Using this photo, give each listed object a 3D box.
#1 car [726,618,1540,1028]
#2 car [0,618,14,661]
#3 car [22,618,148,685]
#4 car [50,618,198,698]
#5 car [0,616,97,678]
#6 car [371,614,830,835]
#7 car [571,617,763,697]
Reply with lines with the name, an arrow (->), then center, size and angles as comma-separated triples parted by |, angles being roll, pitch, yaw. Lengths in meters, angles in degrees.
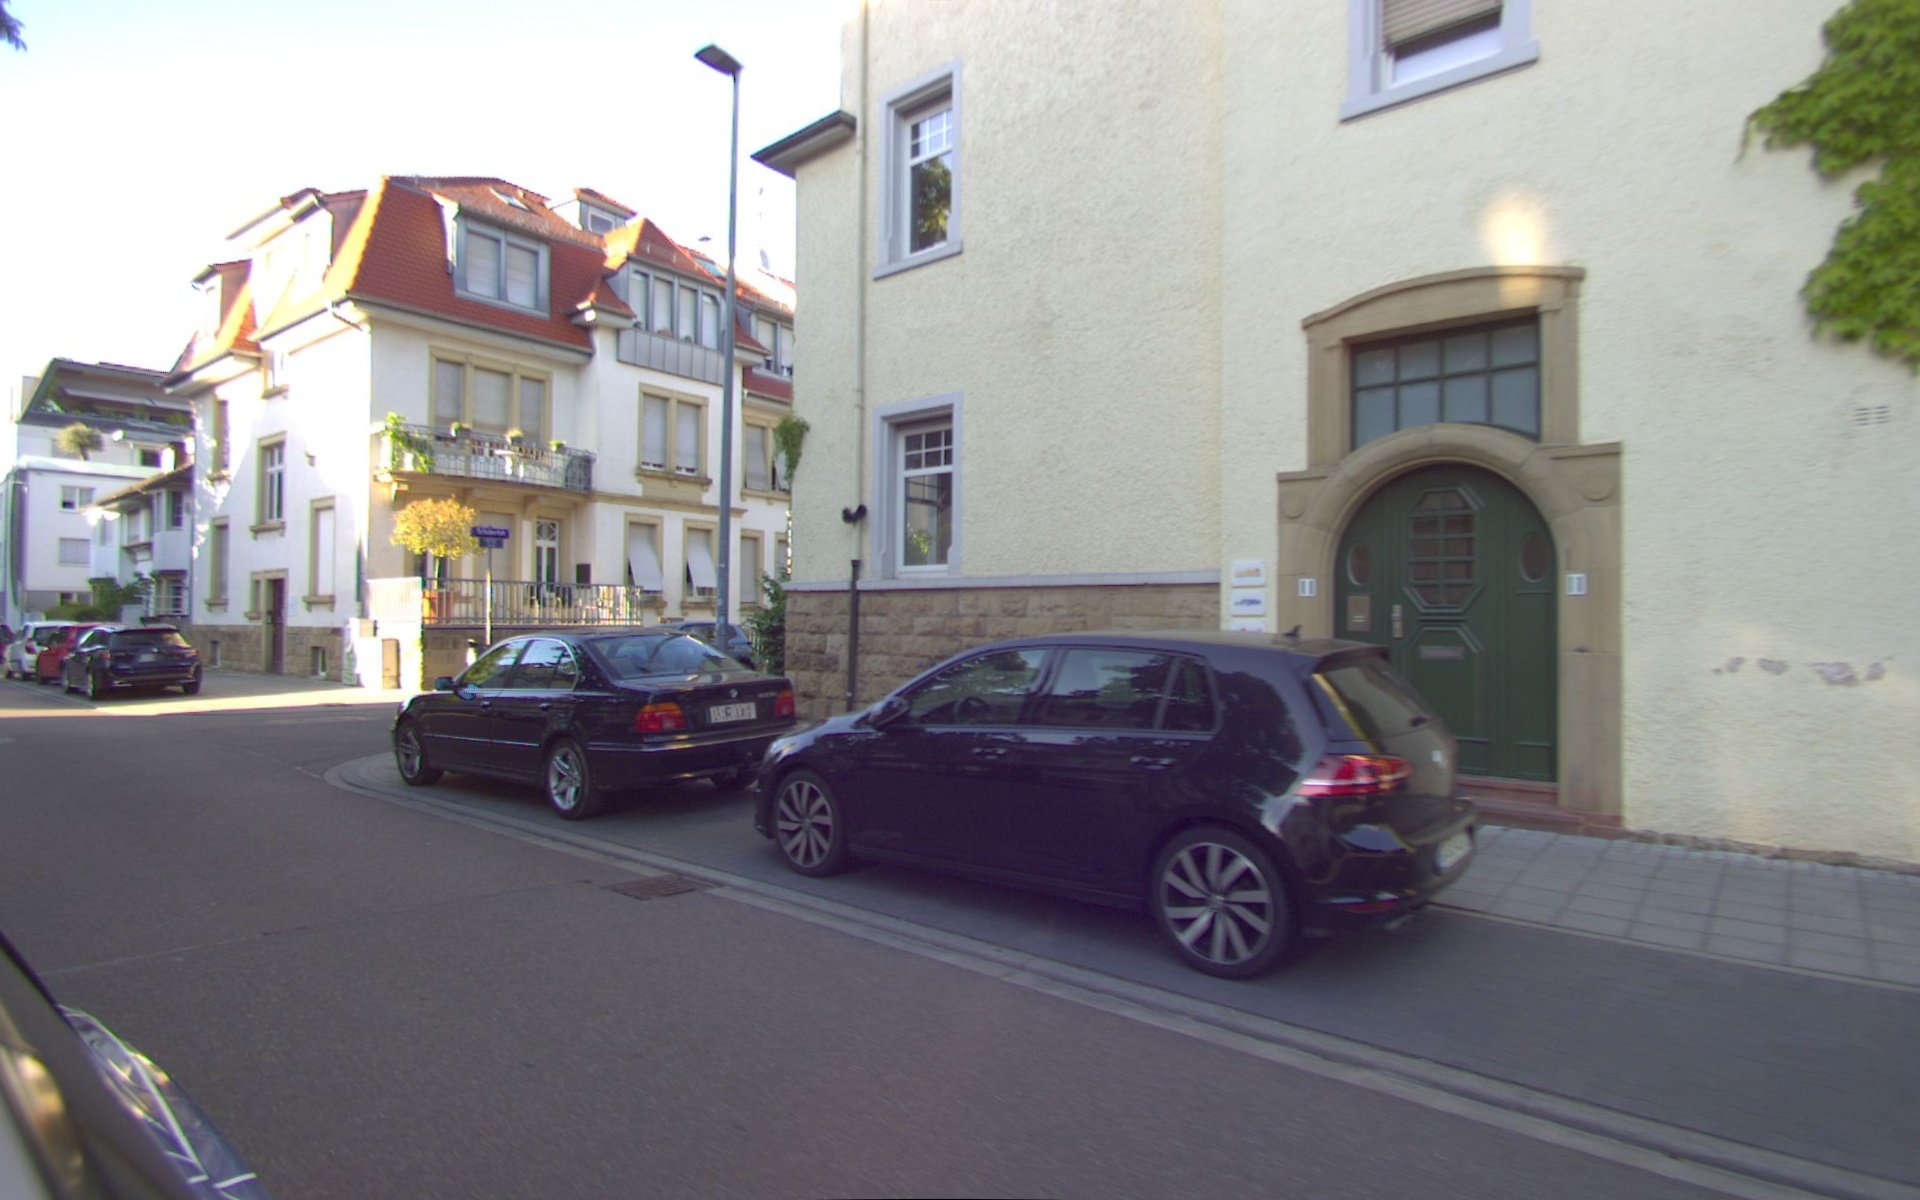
car -> 0.661, 0.827, 5.558 | 4.164, 1.426, 1.637 | -1, -1, 40
car -> -35.862, 1.439, 36.950 | 3.428, 1.494, 1.633 | -1, 0, 42
car -> -21.243, 1.193, 24.527 | 3.700, 1.488, 1.567 | -1, -1, 37
car -> -17.413, 1.124, 21.007 | 4.628, 1.465, 1.636 | -1, -1, 41
car -> -24.654, 1.209, 27.237 | 3.702, 1.532, 1.566 | -1, -1, 39
car -> -3.370, 0.880, 8.974 | 4.628, 1.481, 1.692 | -1, -1, 39
car -> -6.276, 1.199, 21.963 | 1.758, 1.571, 3.728 | -3, -3, 36
